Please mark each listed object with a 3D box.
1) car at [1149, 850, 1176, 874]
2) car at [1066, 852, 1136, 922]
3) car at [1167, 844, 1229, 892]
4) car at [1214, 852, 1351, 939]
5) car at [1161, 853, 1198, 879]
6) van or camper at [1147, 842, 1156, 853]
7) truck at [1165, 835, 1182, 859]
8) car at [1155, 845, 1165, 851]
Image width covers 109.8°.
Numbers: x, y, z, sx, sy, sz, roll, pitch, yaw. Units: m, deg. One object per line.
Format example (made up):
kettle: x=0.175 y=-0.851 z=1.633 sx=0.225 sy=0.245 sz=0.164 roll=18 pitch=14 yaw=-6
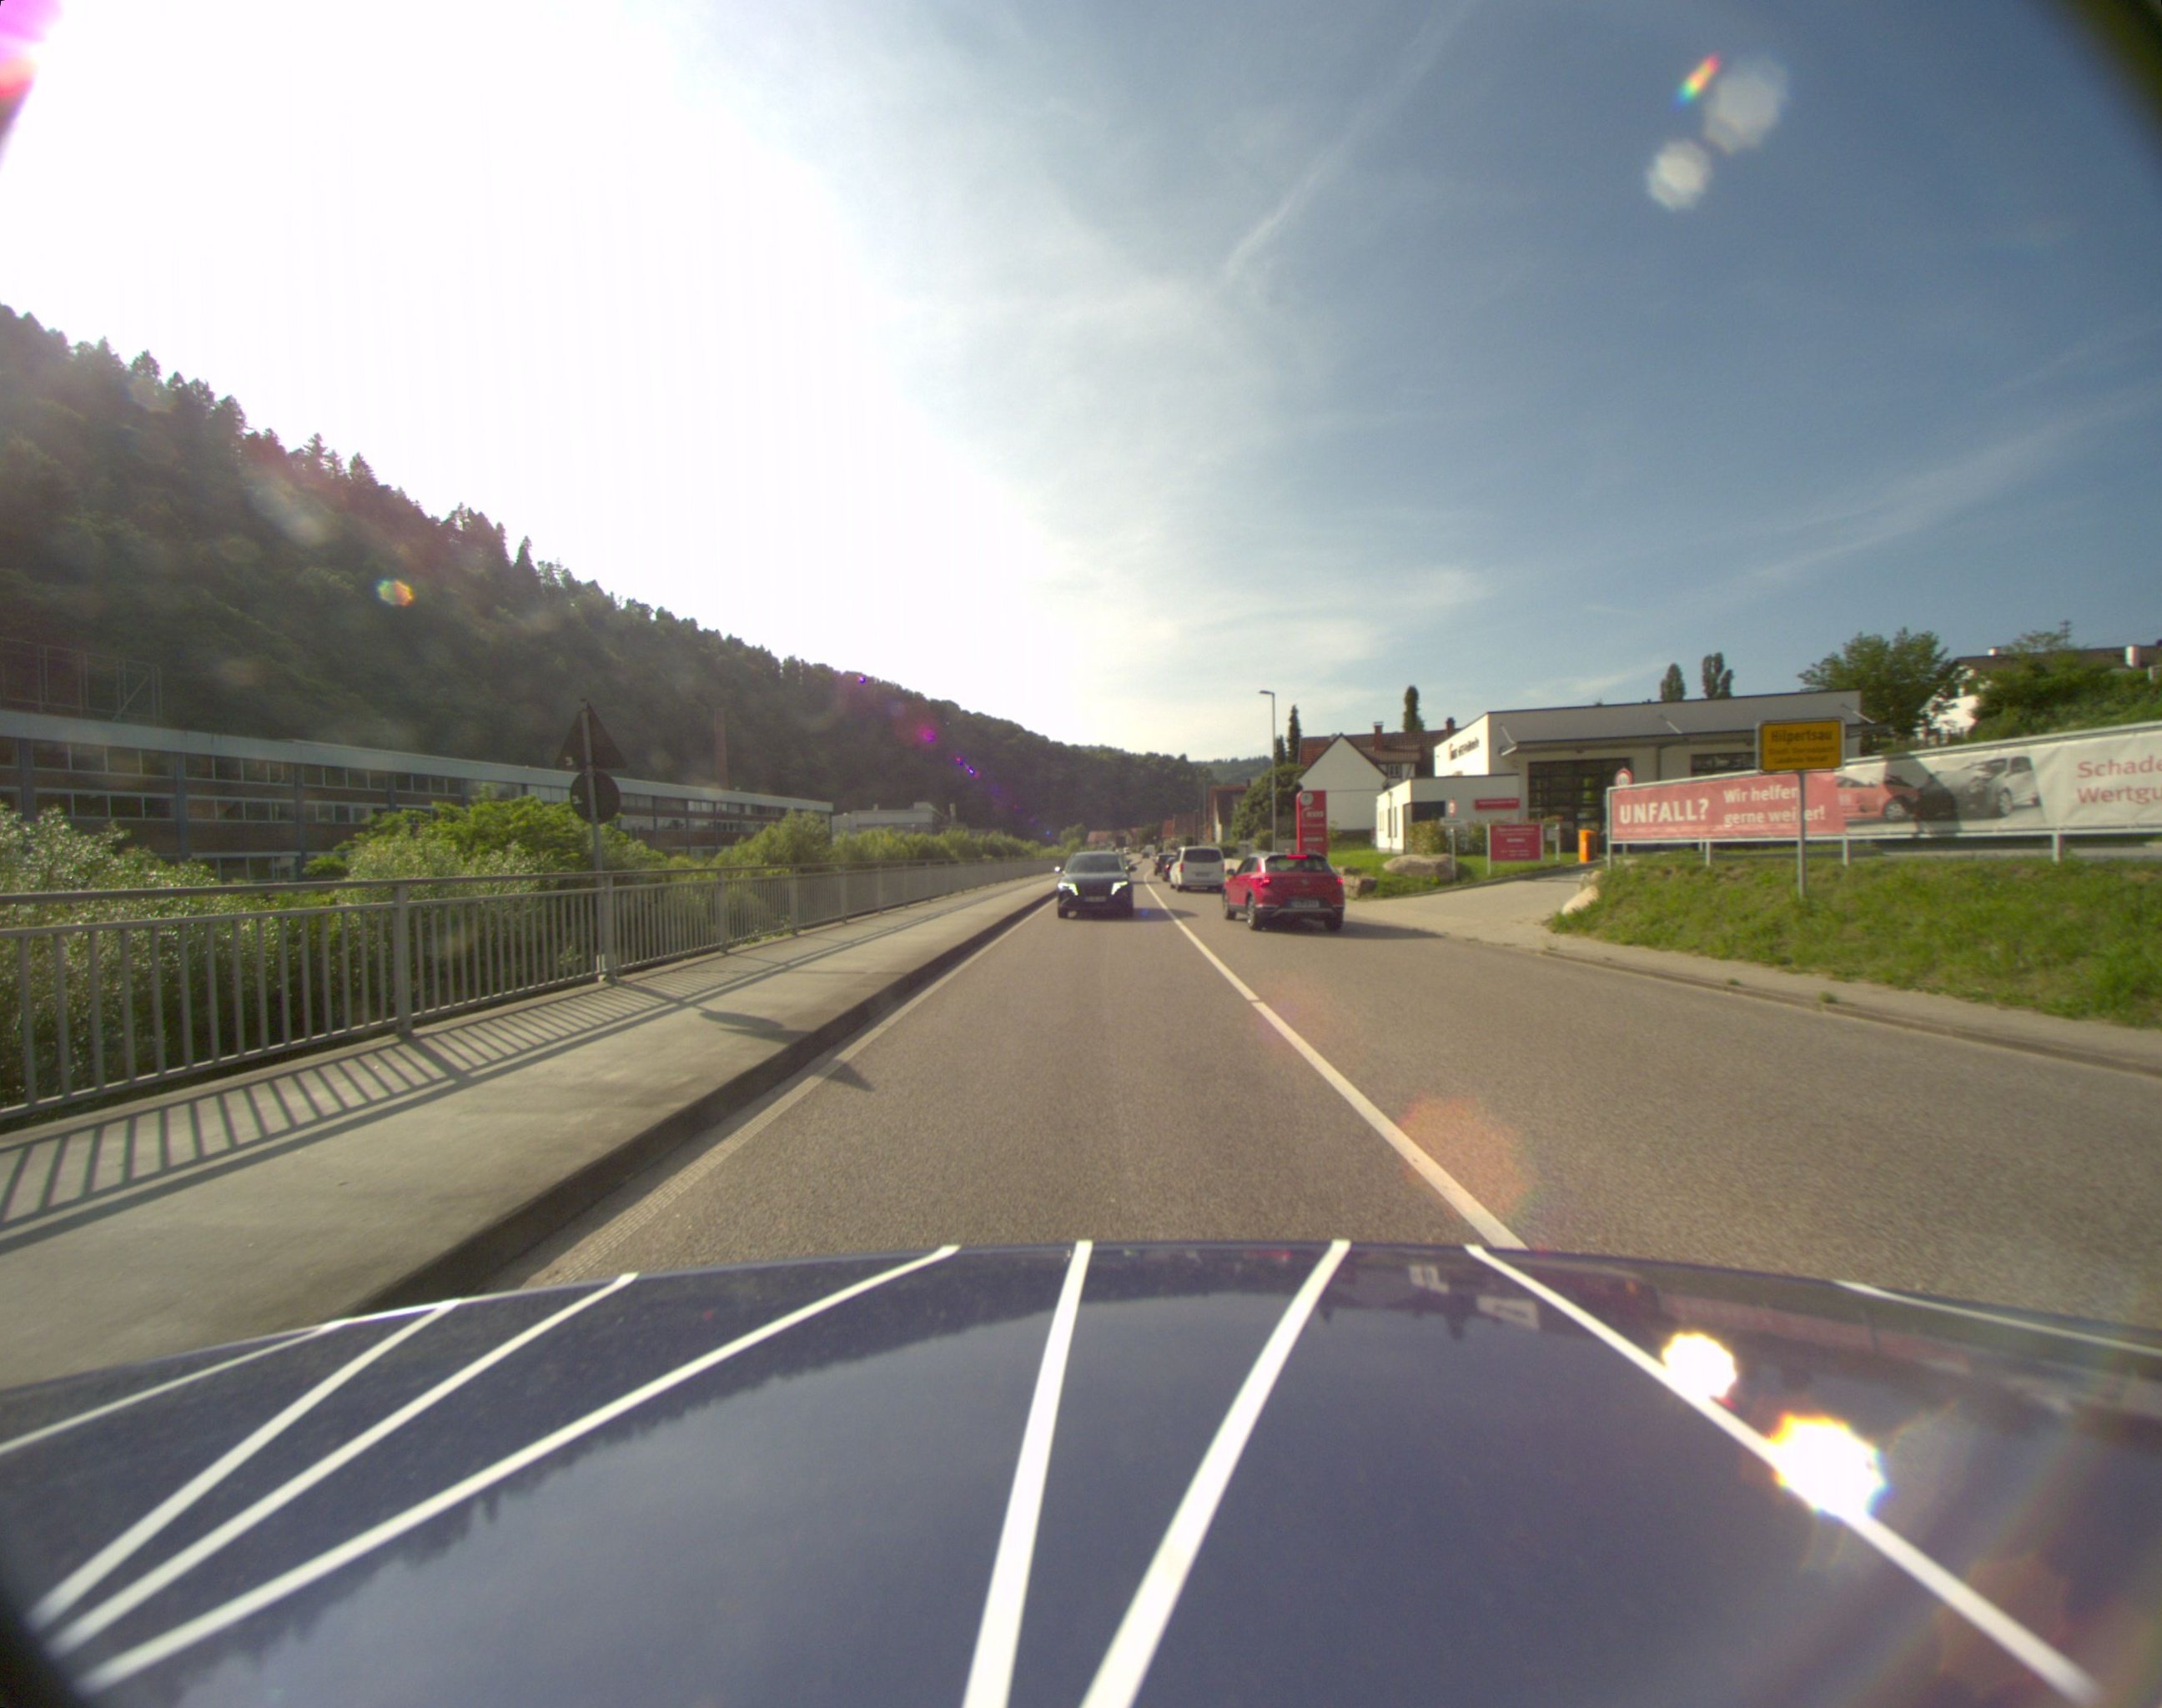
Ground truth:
car: x=6.005 y=0.575 z=56.400 sx=1.801 sy=1.608 sz=4.463 roll=-3 pitch=0 yaw=4
car: x=0.445 y=0.774 z=19.848 sx=1.649 sy=1.639 sz=4.000 roll=0 pitch=0 yaw=-1
car: x=4.910 y=0.569 z=32.624 sx=1.901 sy=1.876 sz=5.295 roll=0 pitch=0 yaw=0
car: x=4.080 y=0.762 z=16.094 sx=1.710 sy=1.574 sz=4.158 roll=0 pitch=0 yaw=-1
car: x=5.711 y=0.681 z=44.299 sx=1.777 sy=1.390 sz=4.234 roll=0 pitch=0 yaw=3
van or camper: x=19.591 y=-1.824 z=211.570 sx=2.200 sy=2.921 sz=7.129 roll=-2 pitch=0 yaw=6
truck: x=15.680 y=-1.271 z=129.409 sx=2.583 sy=3.909 sz=11.308 roll=-1 pitch=1 yaw=5
car: x=20.056 y=-1.513 z=192.032 sx=1.632 sy=1.476 sz=4.004 roll=-3 pitch=1 yaw=17
